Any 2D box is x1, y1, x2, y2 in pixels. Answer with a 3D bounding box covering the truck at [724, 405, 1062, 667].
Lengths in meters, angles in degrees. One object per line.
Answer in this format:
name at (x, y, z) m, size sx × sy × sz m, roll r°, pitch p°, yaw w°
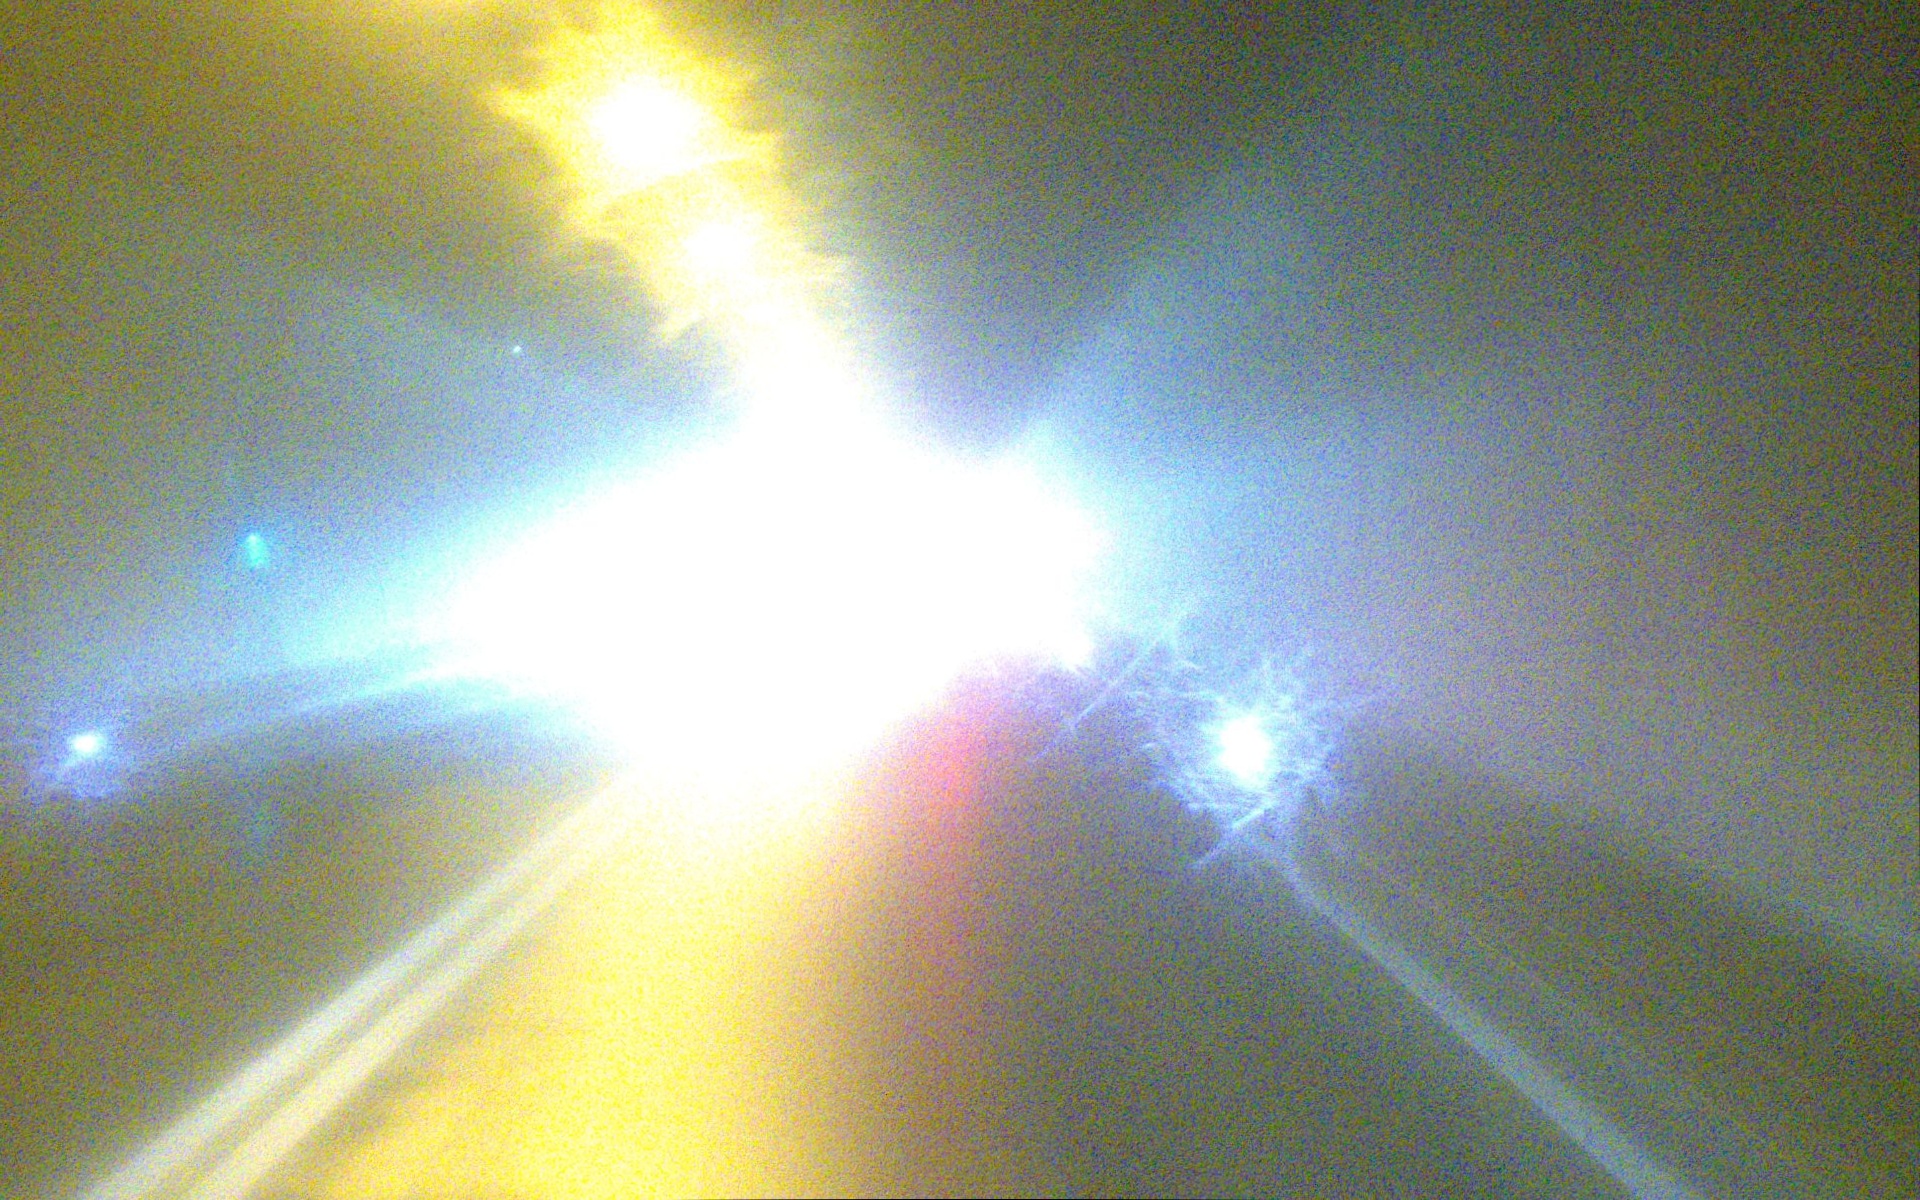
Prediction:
truck at (-0.751, -0.765, 41.332) m, size 3.535 × 2.684 × 8.956 m, roll -2°, pitch 1°, yaw 0°
